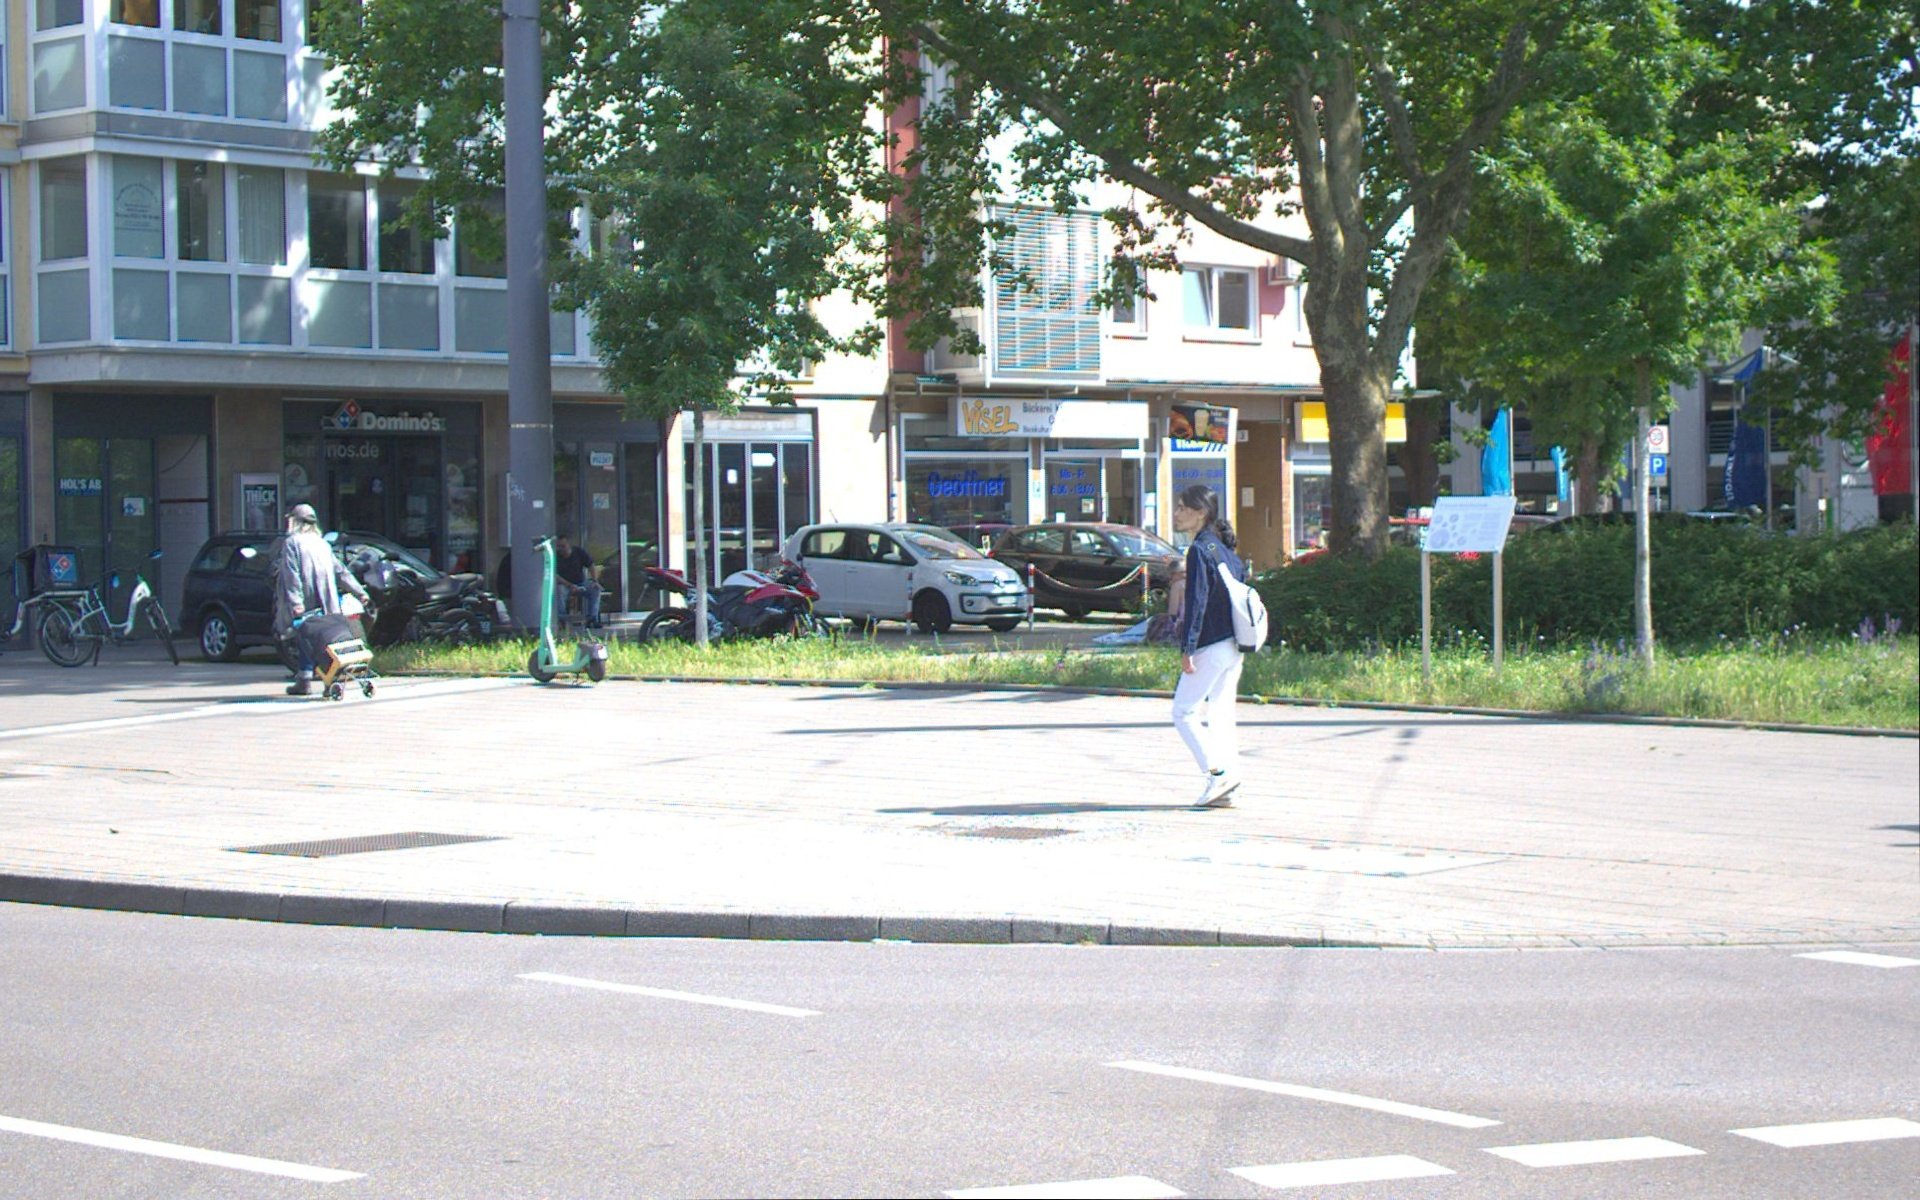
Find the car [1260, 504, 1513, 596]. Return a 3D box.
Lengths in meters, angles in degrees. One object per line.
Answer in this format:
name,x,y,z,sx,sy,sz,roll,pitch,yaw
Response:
car,6.945,-0.835,56.102,3.732,1.335,1.740,3,4,40

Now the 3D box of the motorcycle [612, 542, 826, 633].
motorcycle,-2.347,-0.124,33.605,2.031,0.839,0.640,-1,2,1

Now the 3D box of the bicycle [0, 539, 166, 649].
bicycle,-9.385,-0.072,36.496,1.752,1.082,0.584,-3,2,-40

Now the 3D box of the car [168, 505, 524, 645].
car,-6.887,-0.277,38.371,4.089,1.465,1.655,1,-1,40

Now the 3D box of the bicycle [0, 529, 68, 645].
bicycle,-10.580,-0.125,37.046,1.752,1.215,0.584,-3,2,-40

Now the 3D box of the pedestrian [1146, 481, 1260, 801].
pedestrian,1.241,0.199,17.550,0.453,1.599,0.400,2,3,21

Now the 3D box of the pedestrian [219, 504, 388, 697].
pedestrian,-5.095,-0.010,26.681,1.116,1.398,0.655,3,7,35

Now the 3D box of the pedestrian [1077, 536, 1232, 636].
pedestrian,1.809,-0.140,31.993,1.175,0.889,0.821,0,2,38

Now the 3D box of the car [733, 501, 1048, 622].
car,-0.963,-0.556,46.423,3.997,1.435,1.886,3,4,40

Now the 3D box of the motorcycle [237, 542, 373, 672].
motorcycle,-5.700,0.042,29.834,0.638,1.058,2.039,-2,2,-25

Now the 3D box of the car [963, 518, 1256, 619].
car,2.134,-0.480,49.720,3.997,1.266,1.740,3,4,40

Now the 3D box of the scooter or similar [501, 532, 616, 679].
scooter or similar,-3.175,0.027,27.116,0.515,1.115,1.364,-2,2,-23
